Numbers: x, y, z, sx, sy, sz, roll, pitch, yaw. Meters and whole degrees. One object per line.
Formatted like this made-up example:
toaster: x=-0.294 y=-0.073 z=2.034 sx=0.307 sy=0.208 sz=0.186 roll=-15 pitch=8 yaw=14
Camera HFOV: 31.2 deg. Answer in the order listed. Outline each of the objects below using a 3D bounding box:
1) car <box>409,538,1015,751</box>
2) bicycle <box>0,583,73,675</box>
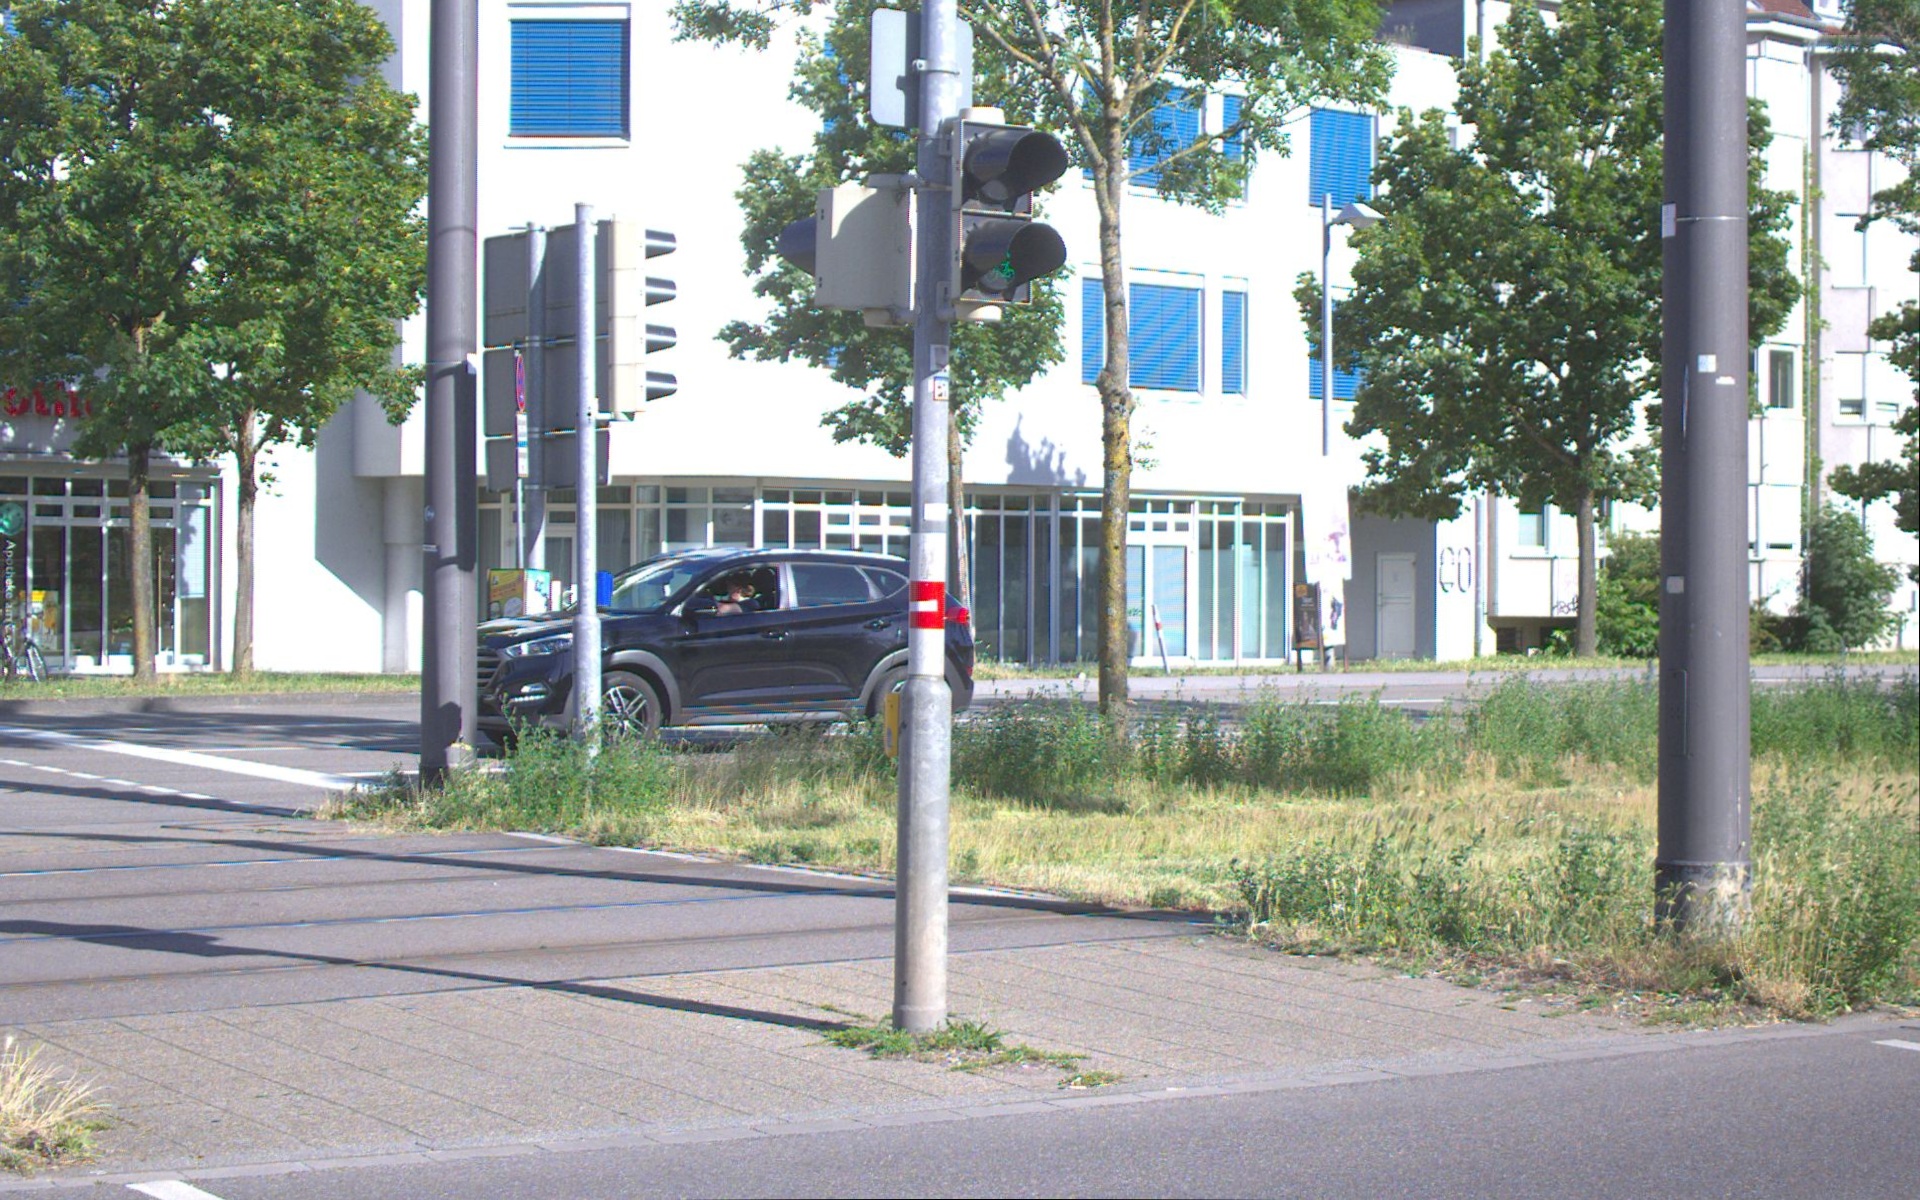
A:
car: x=-1.977 y=0.324 z=27.895 sx=4.501 sy=1.604 sz=2.000 roll=0 pitch=0 yaw=-33
bicycle: x=-12.420 y=0.373 z=45.434 sx=0.560 sy=1.178 sz=1.869 roll=0 pitch=1 yaw=-41
